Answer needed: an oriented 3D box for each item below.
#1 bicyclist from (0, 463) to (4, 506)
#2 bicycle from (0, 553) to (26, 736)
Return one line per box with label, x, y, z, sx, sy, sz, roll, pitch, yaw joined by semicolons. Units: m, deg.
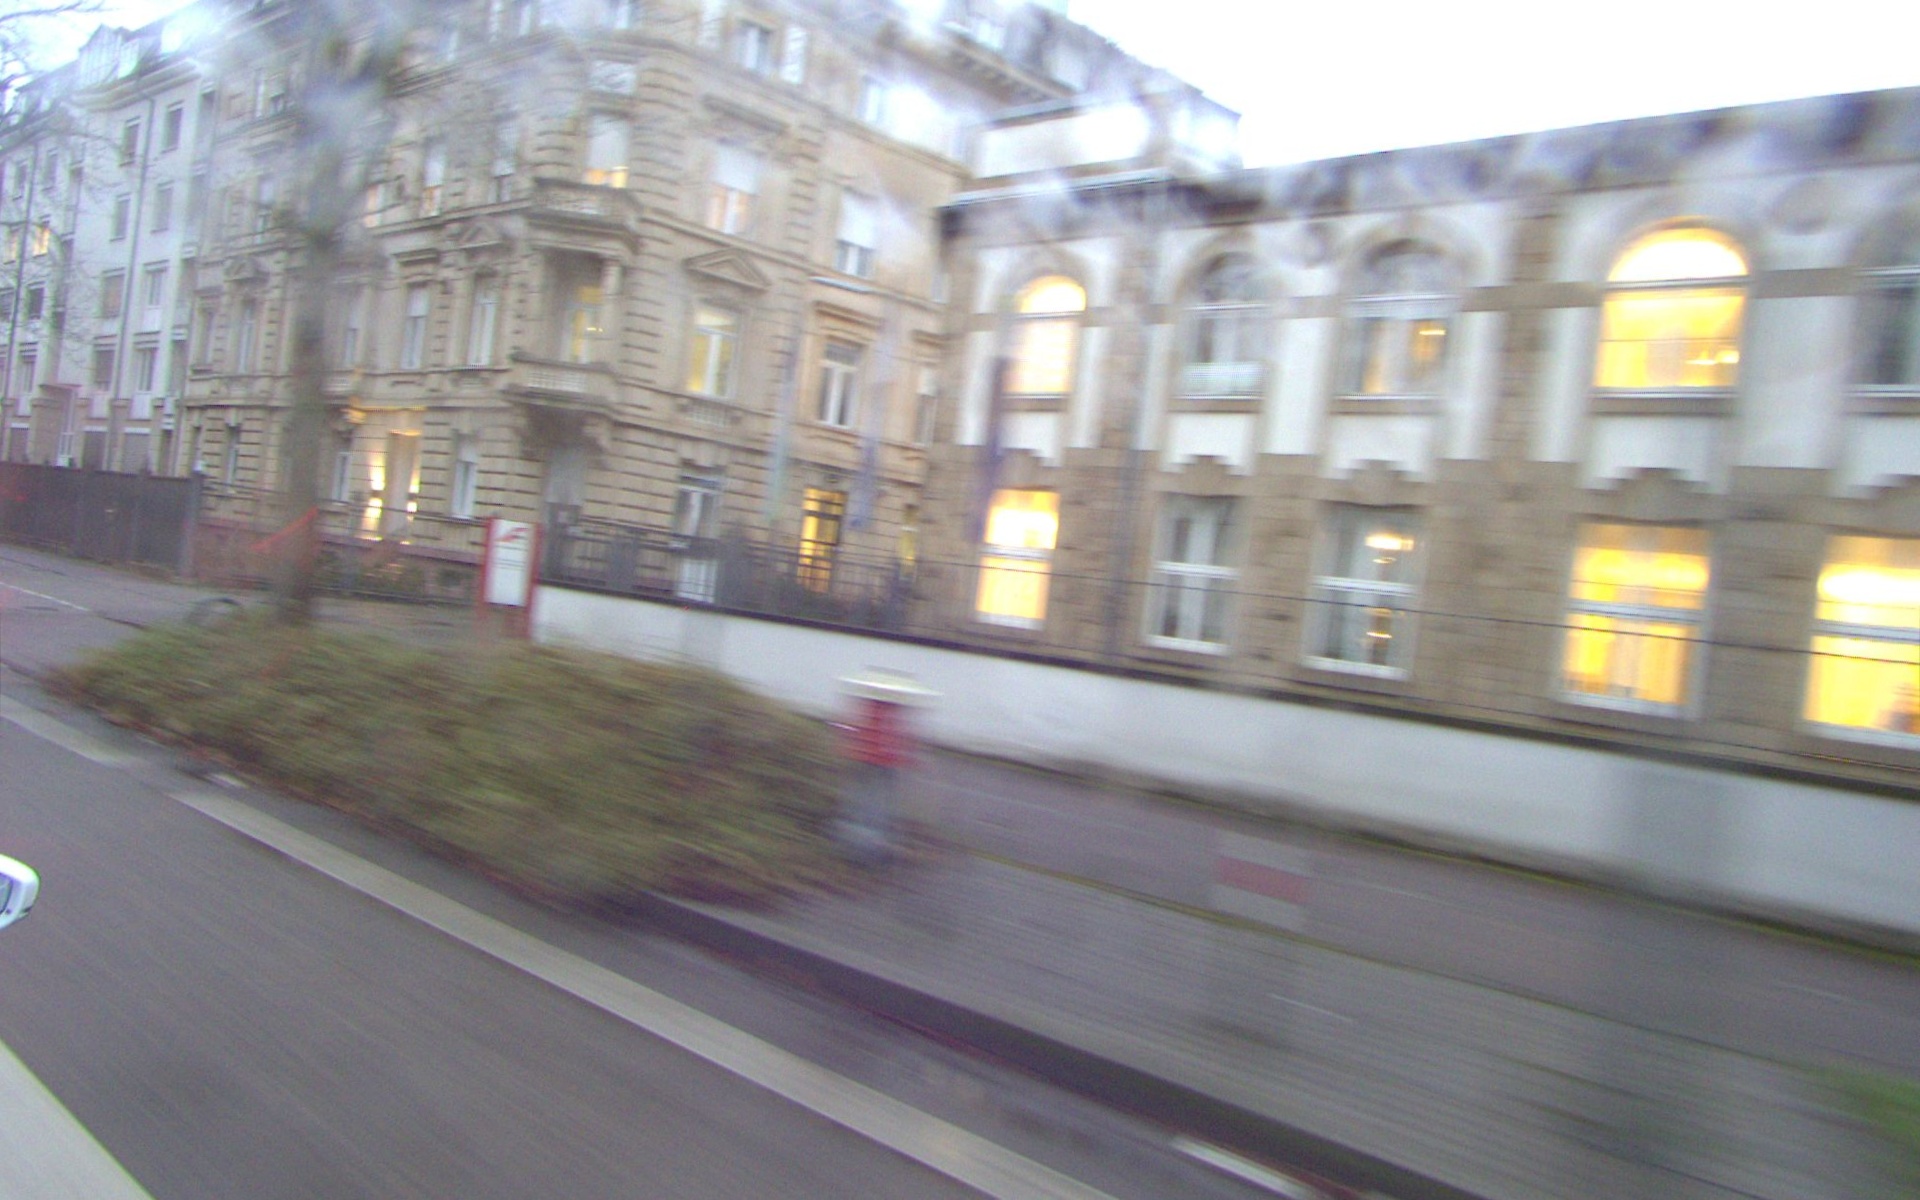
bicyclist;-6.864;-0.238;6.565;0.836;1.464;0.656;8;1;35
bicycle;-6.927;0.167;6.596;1.997;1.110;0.707;8;1;35
